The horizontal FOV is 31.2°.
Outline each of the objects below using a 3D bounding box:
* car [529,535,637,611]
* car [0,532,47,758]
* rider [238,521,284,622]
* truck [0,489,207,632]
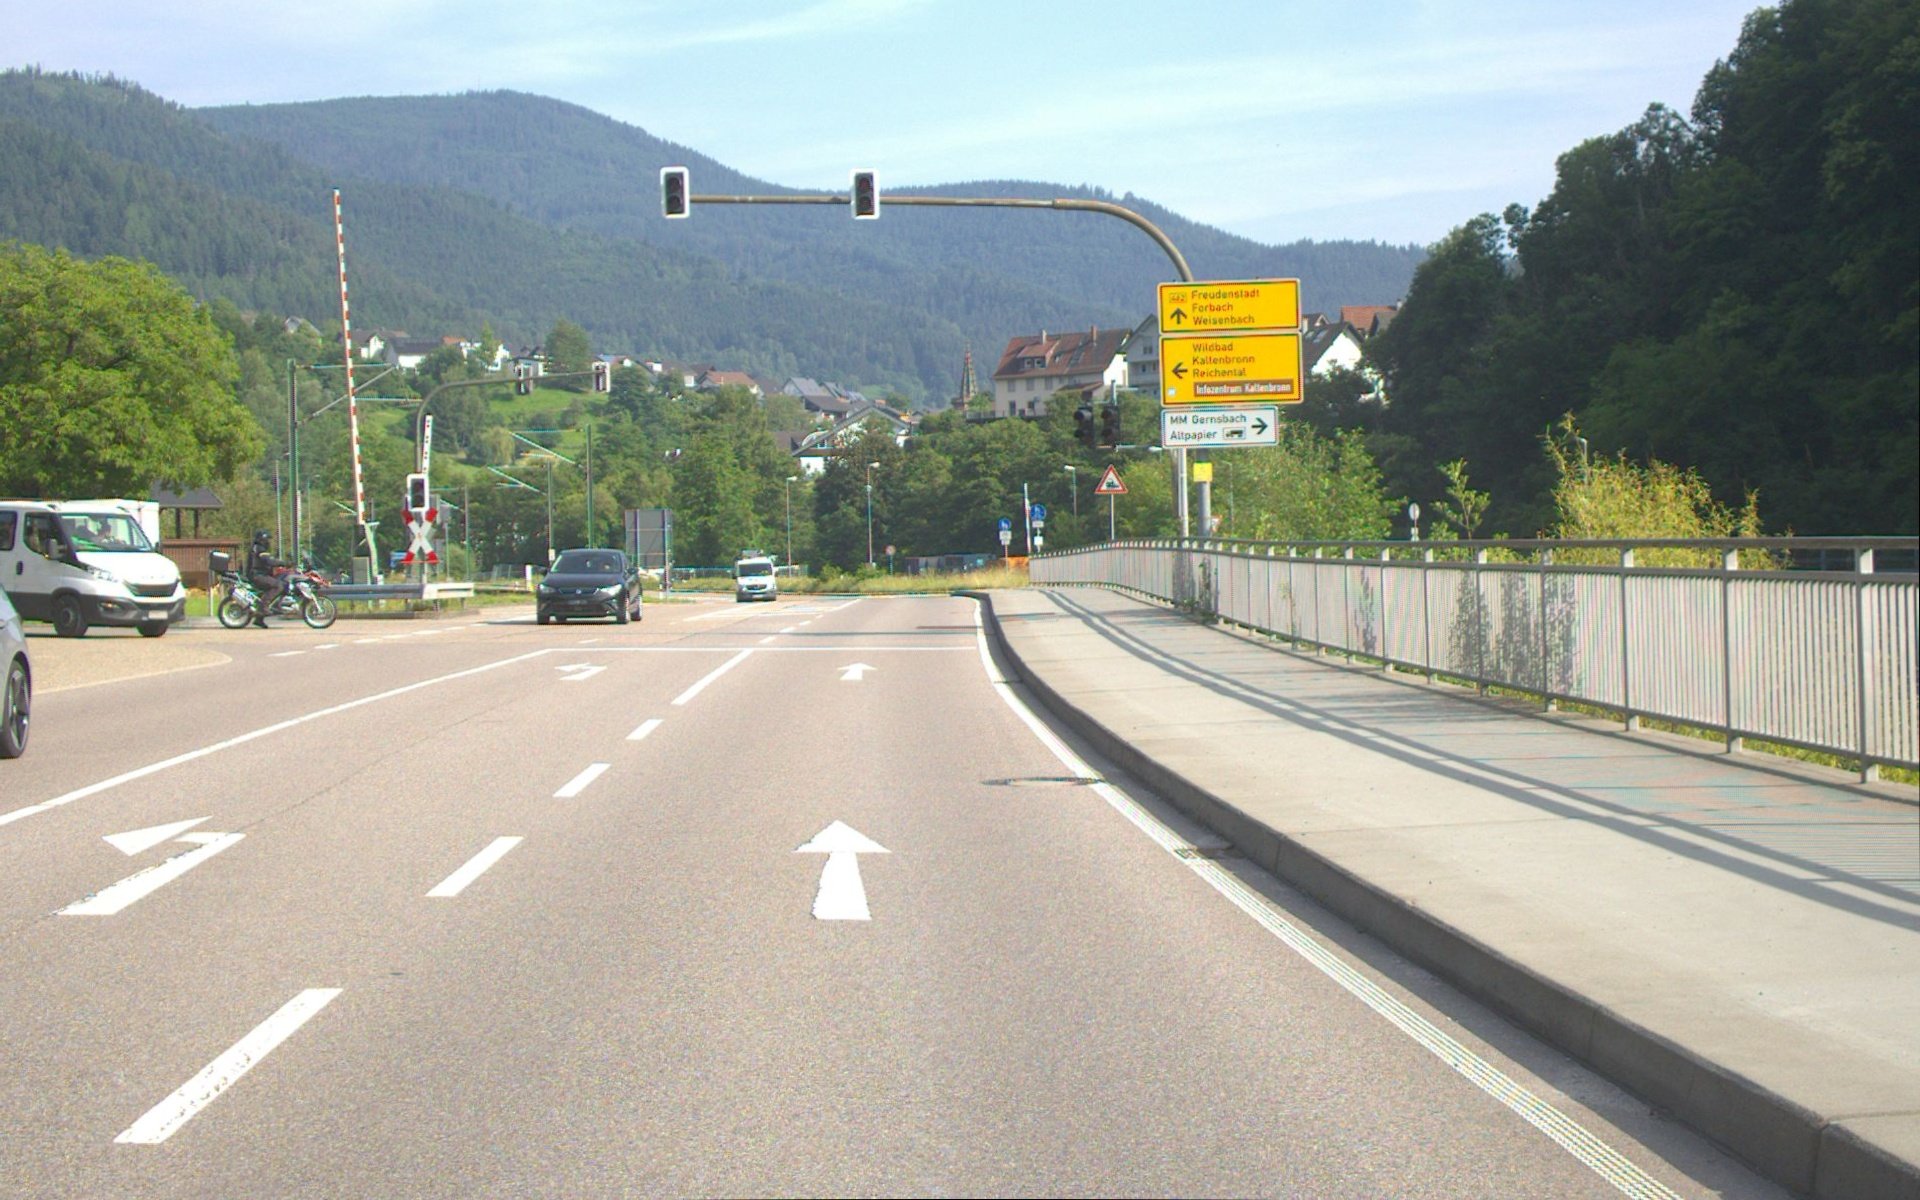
[{"bbox_3d":[-7.276,-0.548,66.561,1.773,1.412,3.785,0,1,-2],"label":"car"},{"bbox_3d":[-7.297,0.310,22.215,1.758,1.516,4.205,0,1,-1],"label":"car"},{"bbox_3d":[-12.722,-0.524,62.579,0.752,1.813,0.743,0,2,-16],"label":"rider"},{"bbox_3d":[-15.319,-0.670,56.646,5.994,2.258,1.996,1,1,32],"label":"truck"}]
